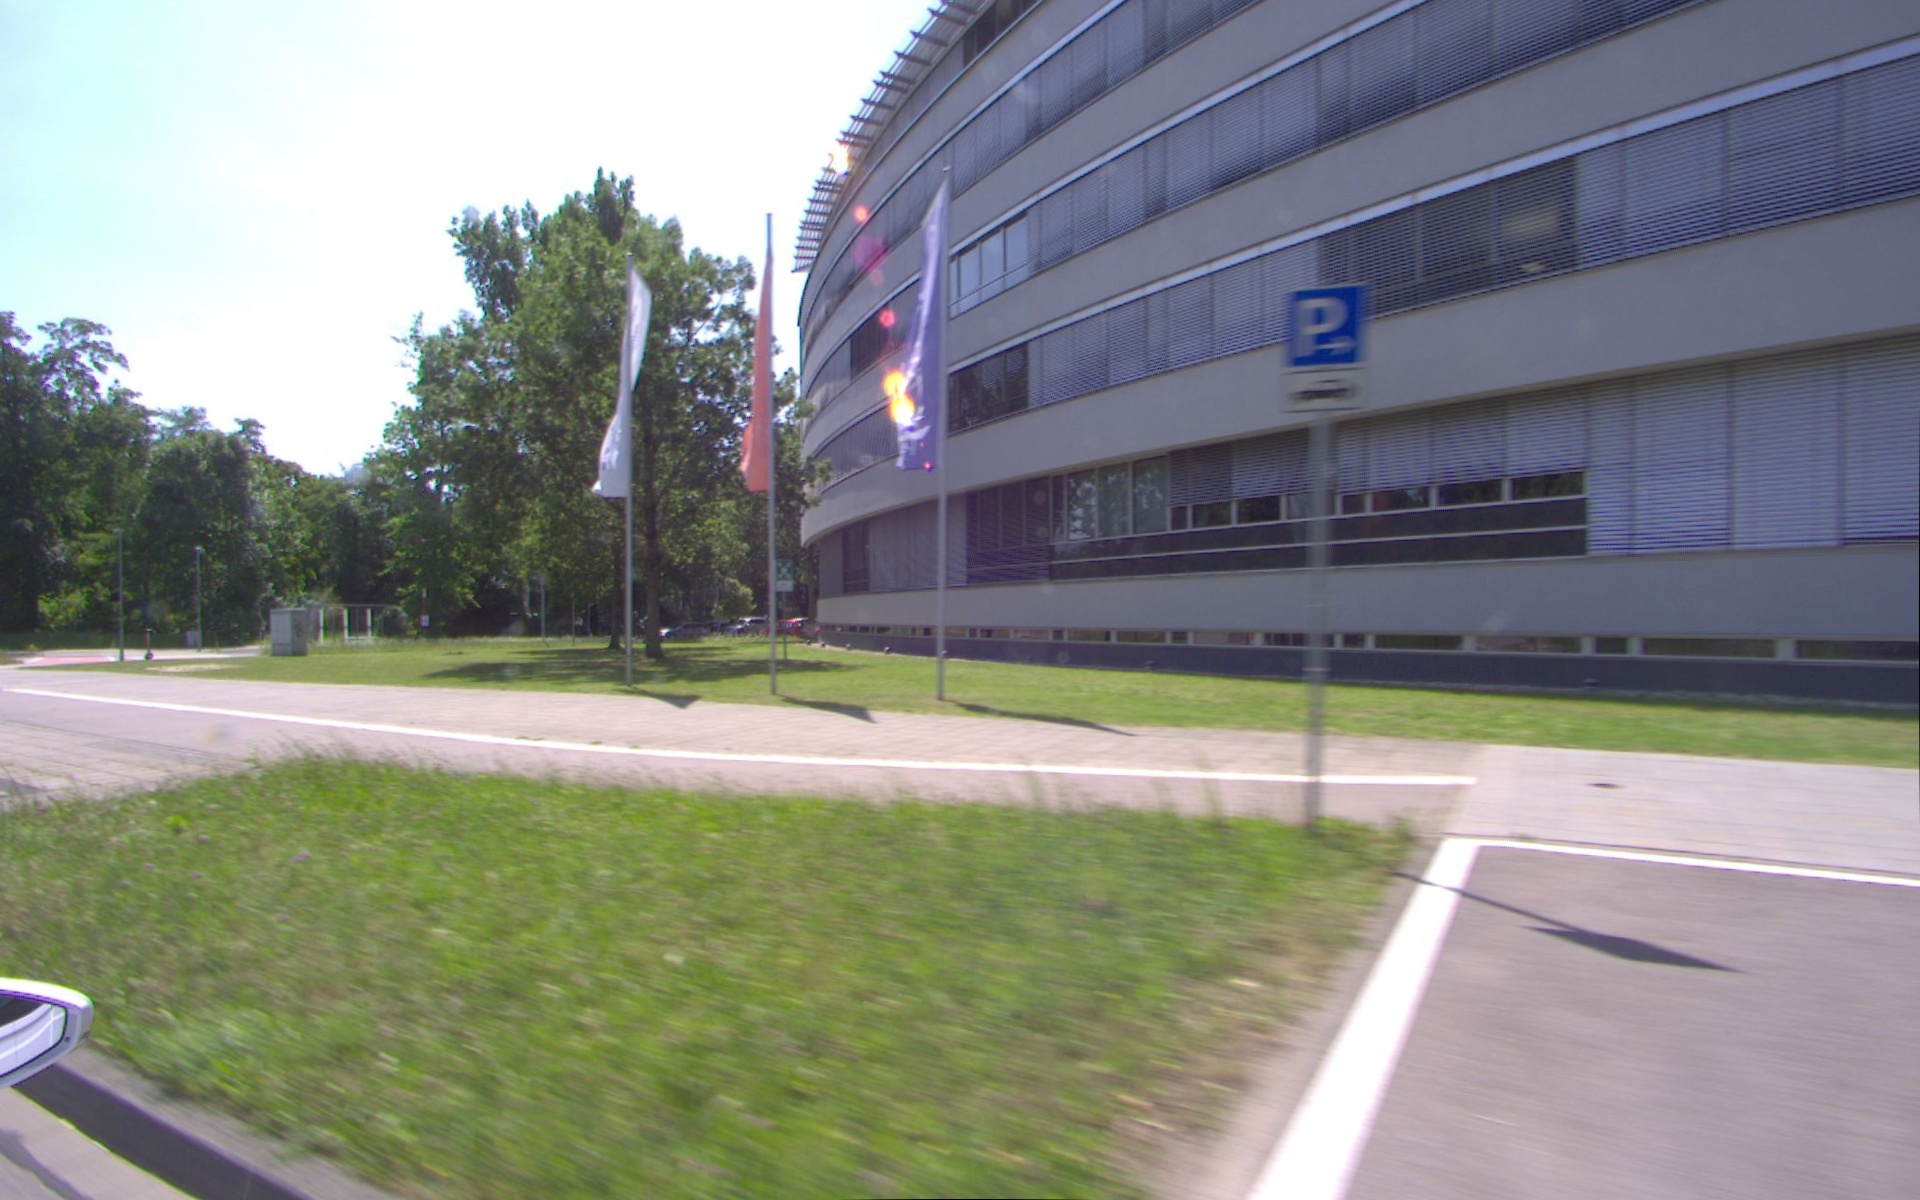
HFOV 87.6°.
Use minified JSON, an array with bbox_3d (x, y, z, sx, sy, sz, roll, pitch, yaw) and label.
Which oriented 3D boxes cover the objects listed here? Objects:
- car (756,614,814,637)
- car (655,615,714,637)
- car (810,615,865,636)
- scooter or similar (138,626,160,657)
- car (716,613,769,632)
[{"bbox_3d":[-11.914,1.728,68.090,3.634,1.502,1.859,-1,-2,33],"label":"car"},{"bbox_3d":[-20.421,1.918,74.247,1.681,1.505,3.974,2,0,37],"label":"car"},{"bbox_3d":[-8.767,1.848,71.754,3.634,1.502,1.859,-1,-2,33],"label":"car"},{"bbox_3d":[-31.870,1.633,39.354,0.441,1.217,1.392,1,-2,-30],"label":"scooter or similar"},{"bbox_3d":[-17.072,1.752,78.765,1.861,1.434,3.763,-1,-1,40],"label":"car"}]
